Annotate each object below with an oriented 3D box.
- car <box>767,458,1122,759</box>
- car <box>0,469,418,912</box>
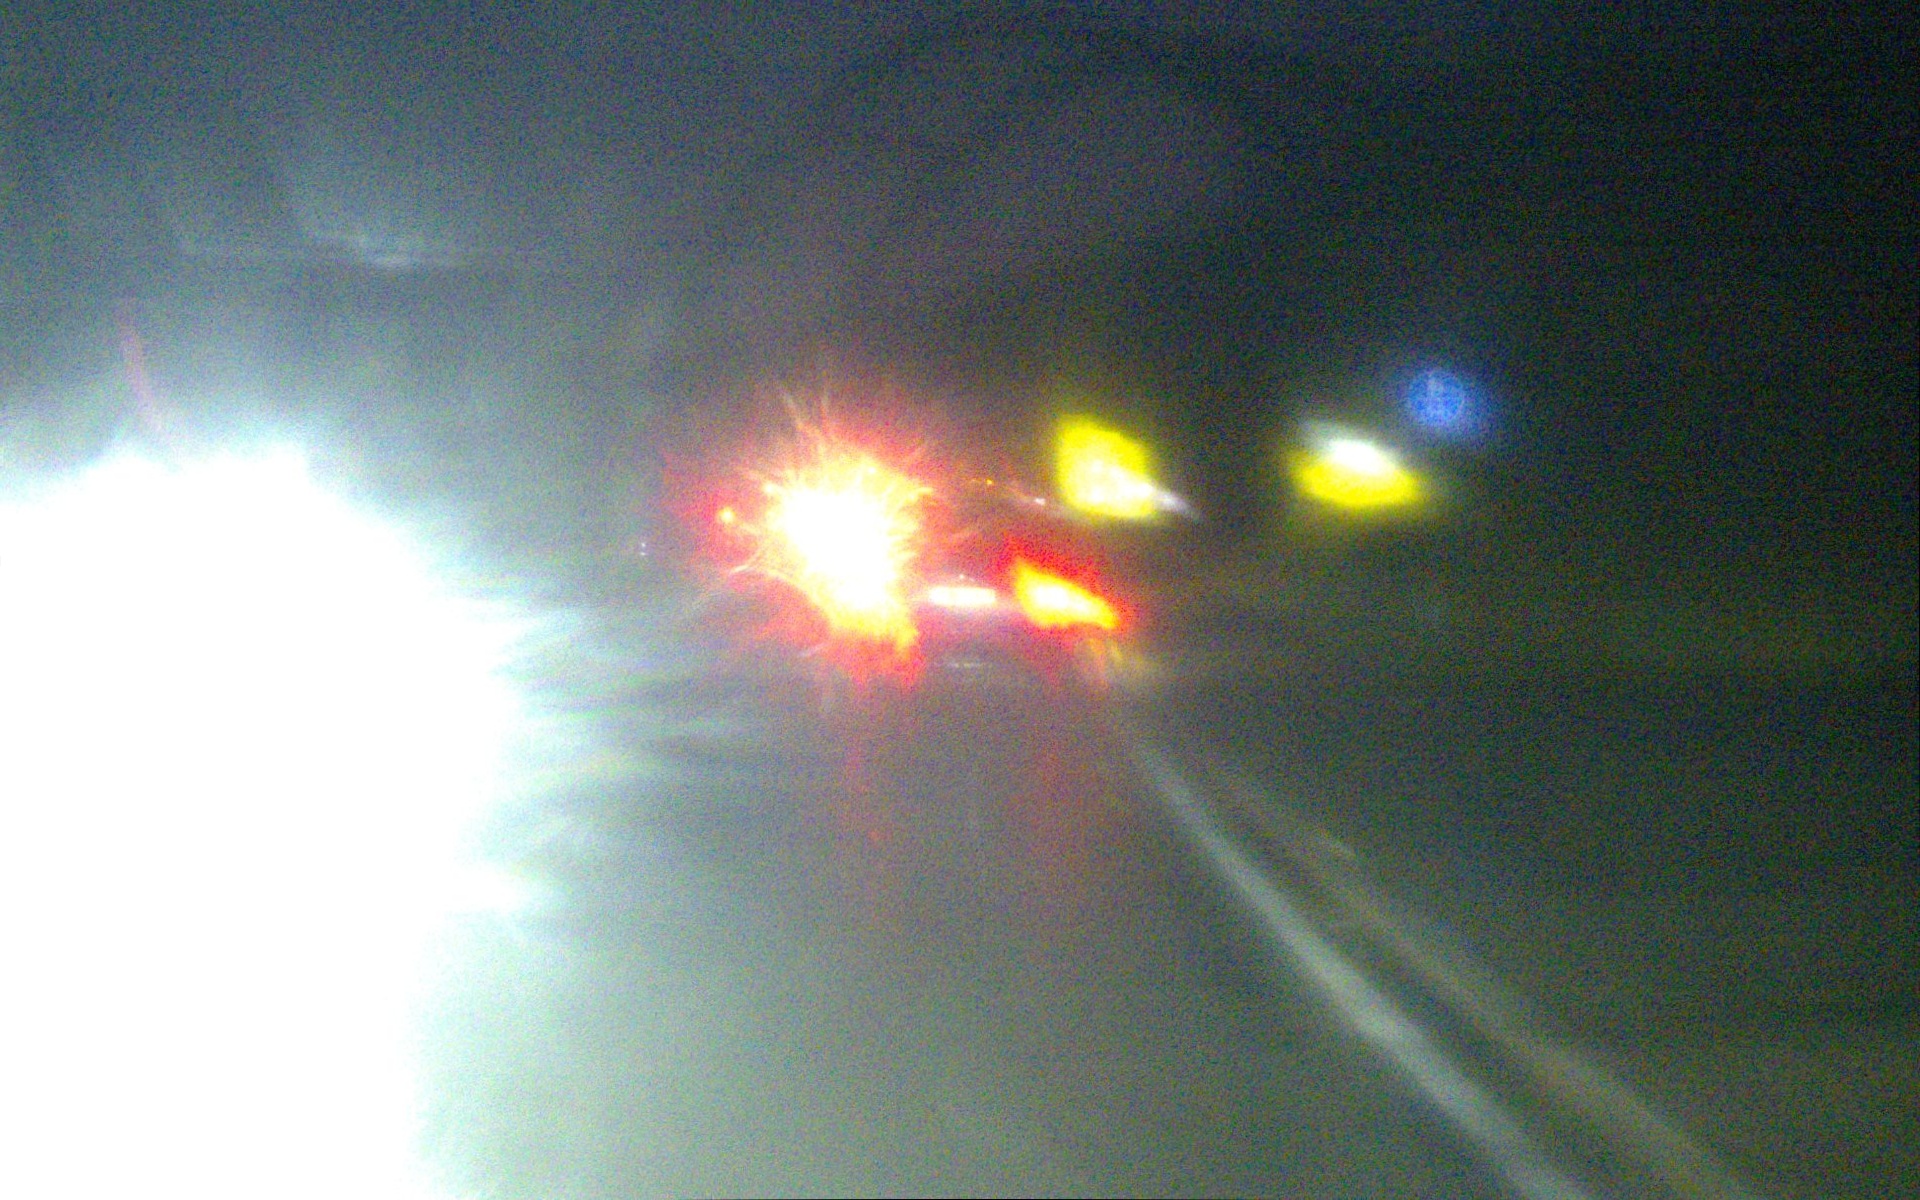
[{"bbox_3d":[-0.088,-0.026,29.574,2.715,2.299,6.101,1,2,1],"label":"car"},{"bbox_3d":[-3.607,0.318,14.808,1.889,1.632,4.156,-1,1,0],"label":"car"}]
